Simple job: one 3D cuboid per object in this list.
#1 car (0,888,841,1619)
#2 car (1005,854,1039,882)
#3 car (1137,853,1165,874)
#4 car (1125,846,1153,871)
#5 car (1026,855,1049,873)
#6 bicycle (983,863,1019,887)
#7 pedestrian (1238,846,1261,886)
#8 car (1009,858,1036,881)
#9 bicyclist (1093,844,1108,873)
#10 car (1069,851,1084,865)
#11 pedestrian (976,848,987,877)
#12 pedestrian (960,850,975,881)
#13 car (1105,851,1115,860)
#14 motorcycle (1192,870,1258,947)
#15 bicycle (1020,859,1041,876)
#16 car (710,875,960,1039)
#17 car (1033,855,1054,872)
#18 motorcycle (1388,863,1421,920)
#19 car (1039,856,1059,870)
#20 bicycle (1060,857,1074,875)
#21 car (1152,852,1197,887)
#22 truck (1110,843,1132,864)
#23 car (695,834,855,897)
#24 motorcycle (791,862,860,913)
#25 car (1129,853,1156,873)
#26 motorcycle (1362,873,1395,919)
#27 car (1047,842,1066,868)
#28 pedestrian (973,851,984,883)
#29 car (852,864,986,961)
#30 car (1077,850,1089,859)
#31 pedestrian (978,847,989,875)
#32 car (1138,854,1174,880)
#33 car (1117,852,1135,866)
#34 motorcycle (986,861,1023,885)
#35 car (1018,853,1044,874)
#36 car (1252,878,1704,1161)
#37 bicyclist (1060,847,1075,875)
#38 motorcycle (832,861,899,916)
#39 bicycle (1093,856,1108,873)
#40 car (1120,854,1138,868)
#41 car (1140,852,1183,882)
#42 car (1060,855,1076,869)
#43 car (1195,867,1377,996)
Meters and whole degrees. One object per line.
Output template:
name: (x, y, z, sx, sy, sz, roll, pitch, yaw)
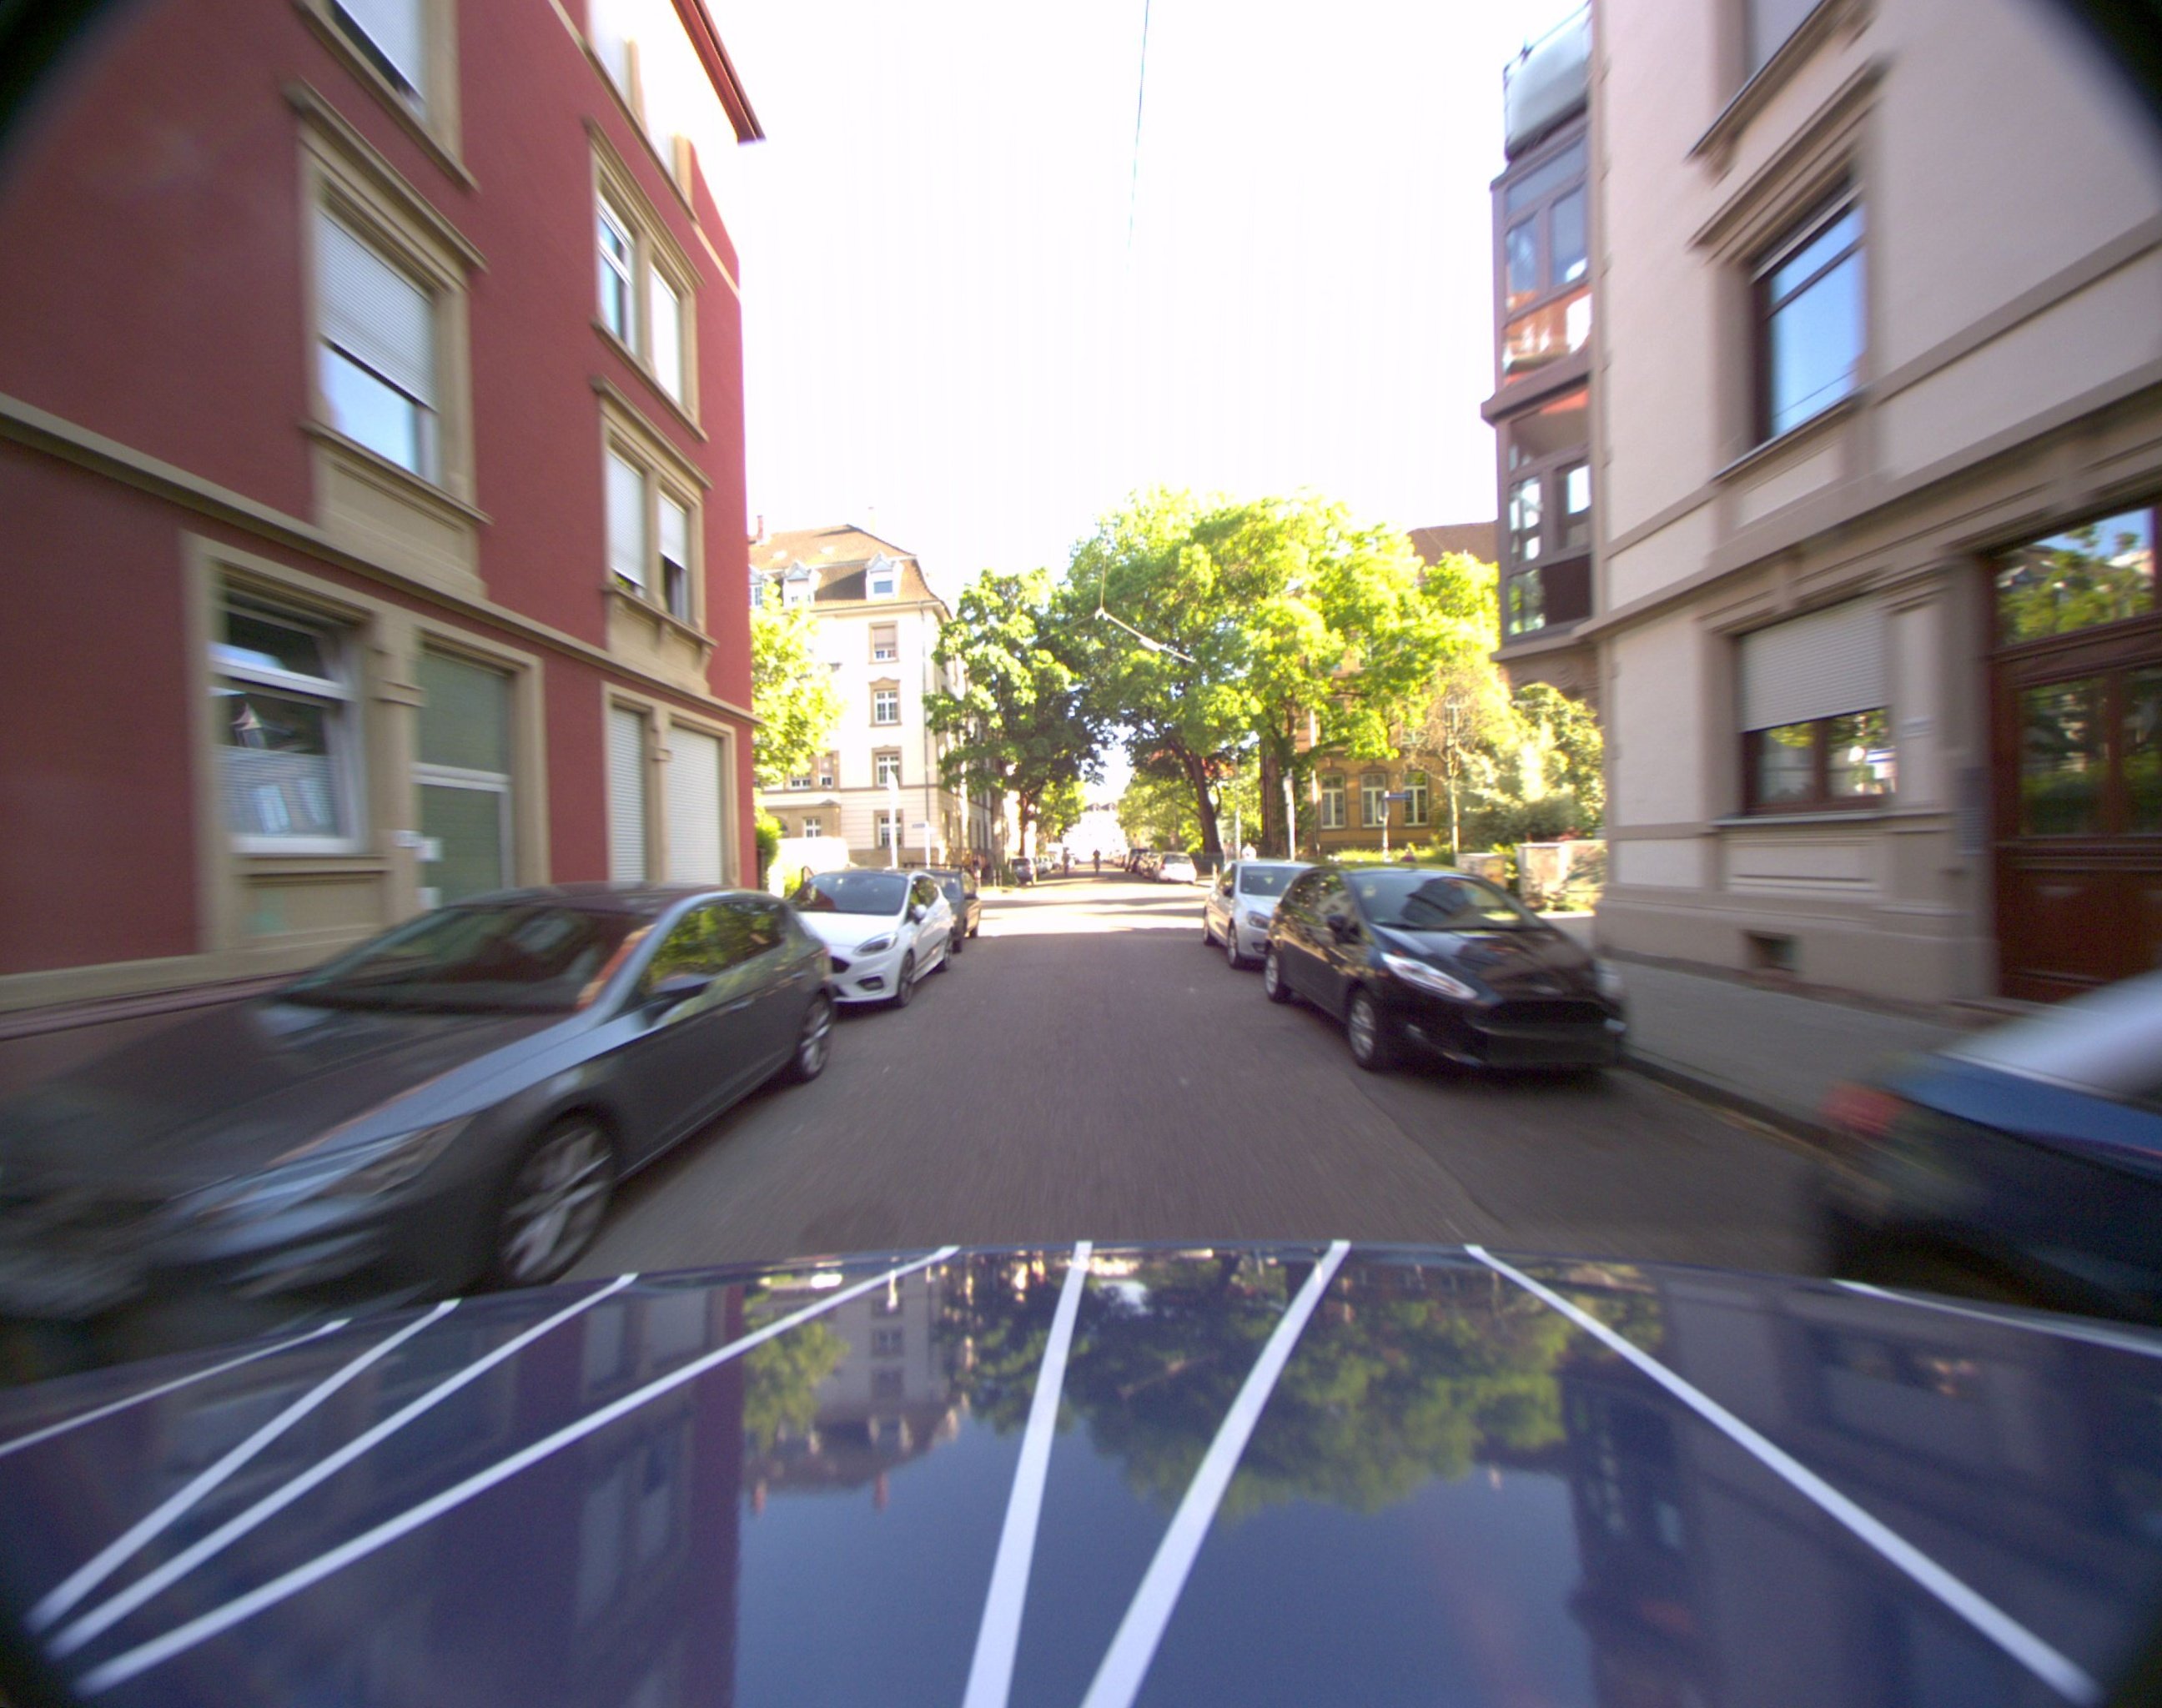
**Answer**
car: (-2.726, 1.011, 3.776, 1.681, 1.494, 4.069, -1, 0, 1)
car: (-3.410, 0.793, 44.422, 1.685, 1.531, 4.134, 1, 0, 0)
car: (4.877, 0.650, 53.327, 1.624, 1.455, 3.311, 1, 0, 1)
car: (4.812, 0.318, 63.613, 1.998, 1.946, 5.042, 2, 0, 1)
car: (-3.667, 0.794, 64.208, 1.651, 1.433, 4.000, -1, 0, 1)
bicycle: (-4.152, 1.070, 39.255, 1.795, 1.155, 0.434, 1, 1, 16)
pedestrian: (7.469, 0.518, 33.690, 0.804, 1.736, 1.006, 0, 1, 1)
car: (-3.834, 1.004, 50.078, 1.728, 1.398, 3.854, 0, 0, -4)
bicyclist: (1.314, 0.286, 51.153, 0.967, 1.904, 1.139, -1, 1, 1)
car: (-0.637, 0.591, 113.826, 2.146, 2.002, 4.863, -1, 0, 1)
pedestrian: (-6.378, 0.558, 48.786, 0.529, 1.834, 0.707, -1, 1, 2)
pedestrian: (-6.091, 0.621, 40.810, 0.624, 1.675, 0.818, -1, 1, 0)
car: (5.292, 0.321, 138.231, 1.597, 1.557, 4.000, -1, 0, 0)
motorcycle: (2.750, 1.016, 14.753, 0.678, 1.326, 1.999, 2, 0, -6)
bicycle: (-3.547, 0.937, 53.167, 1.414, 1.188, 0.336, -1, 1, -2)
car: (-2.683, 1.046, 9.292, 1.709, 1.454, 3.970, -1, 0, 1)
car: (-3.575, 0.890, 73.196, 1.824, 1.521, 4.000, -1, 0, 1)
motorcycle: (7.559, 0.846, 17.811, 0.612, 1.190, 2.047, 0, 1, 20)
car: (-3.273, 0.915, 77.407, 1.812, 1.412, 4.000, -1, 0, 1)
bicycle: (-0.931, 0.793, 51.037, 0.810, 1.136, 2.547, 0, 0, 0)
car: (4.596, 0.741, 37.826, 1.710, 1.549, 3.952, 3, 1, 0)
truck: (5.311, -0.079, 102.225, 2.395, 2.641, 7.092, -1, 0, -1)
car: (-12.351, 0.440, 30.859, 5.655, 2.453, 2.307, 0, 1, 10)
motorcycle: (-7.585, 0.956, 22.695, 0.870, 1.396, 2.544, 0, 1, 9)
car: (4.686, 0.673, 58.134, 1.731, 1.455, 3.844, 1, 0, 1)
motorcycle: (7.838, 1.085, 20.066, 0.640, 1.083, 1.872, 0, 1, 16)
car: (-3.031, 0.108, 94.751, 1.998, 2.983, 6.239, -3, 0, 1)
pedestrian: (-5.485, 0.673, 40.822, 0.520, 1.708, 0.516, -1, 1, -1)
car: (-2.804, 0.960, 13.936, 1.672, 1.474, 3.706, -1, 0, 0)
car: (0.388, 0.061, 144.146, 2.146, 1.758, 4.809, -1, 0, 2)
pedestrian: (-6.374, 0.464, 49.731, 0.706, 1.834, 0.840, -1, 1, -5)
car: (4.700, 0.775, 47.940, 1.793, 1.524, 4.000, 3, 0, -1)
car: (4.986, 0.579, 84.447, 1.755, 1.464, 4.000, -2, 0, 1)
motorcycle: (-4.041, 1.010, 40.122, 1.855, 1.205, 0.678, 2, -1, -2)
car: (-3.798, 0.732, 58.433, 1.639, 1.523, 4.000, -1, 0, 1)
car: (2.673, 1.002, 6.179, 1.785, 1.474, 3.743, -1, 0, 1)
bicyclist: (-0.912, 0.453, 51.019, 0.934, 1.809, 1.078, -1, 1, 1)
motorcycle: (-6.335, 0.983, 22.530, 0.873, 1.516, 2.625, 0, -1, 9)
bicycle: (1.314, 0.697, 51.169, 0.985, 1.136, 2.547, 0, 0, 0)
car: (4.907, 0.708, 78.096, 1.739, 1.456, 4.000, 0, 0, 1)
car: (4.500, 0.717, 43.243, 1.586, 1.456, 3.997, 3, 1, -6)
car: (-1.380, 0.898, 82.590, 1.654, 1.449, 4.000, -1, 0, 1)
car: (2.778, 0.979, 11.165, 1.785, 1.474, 3.933, -1, 0, 3)
